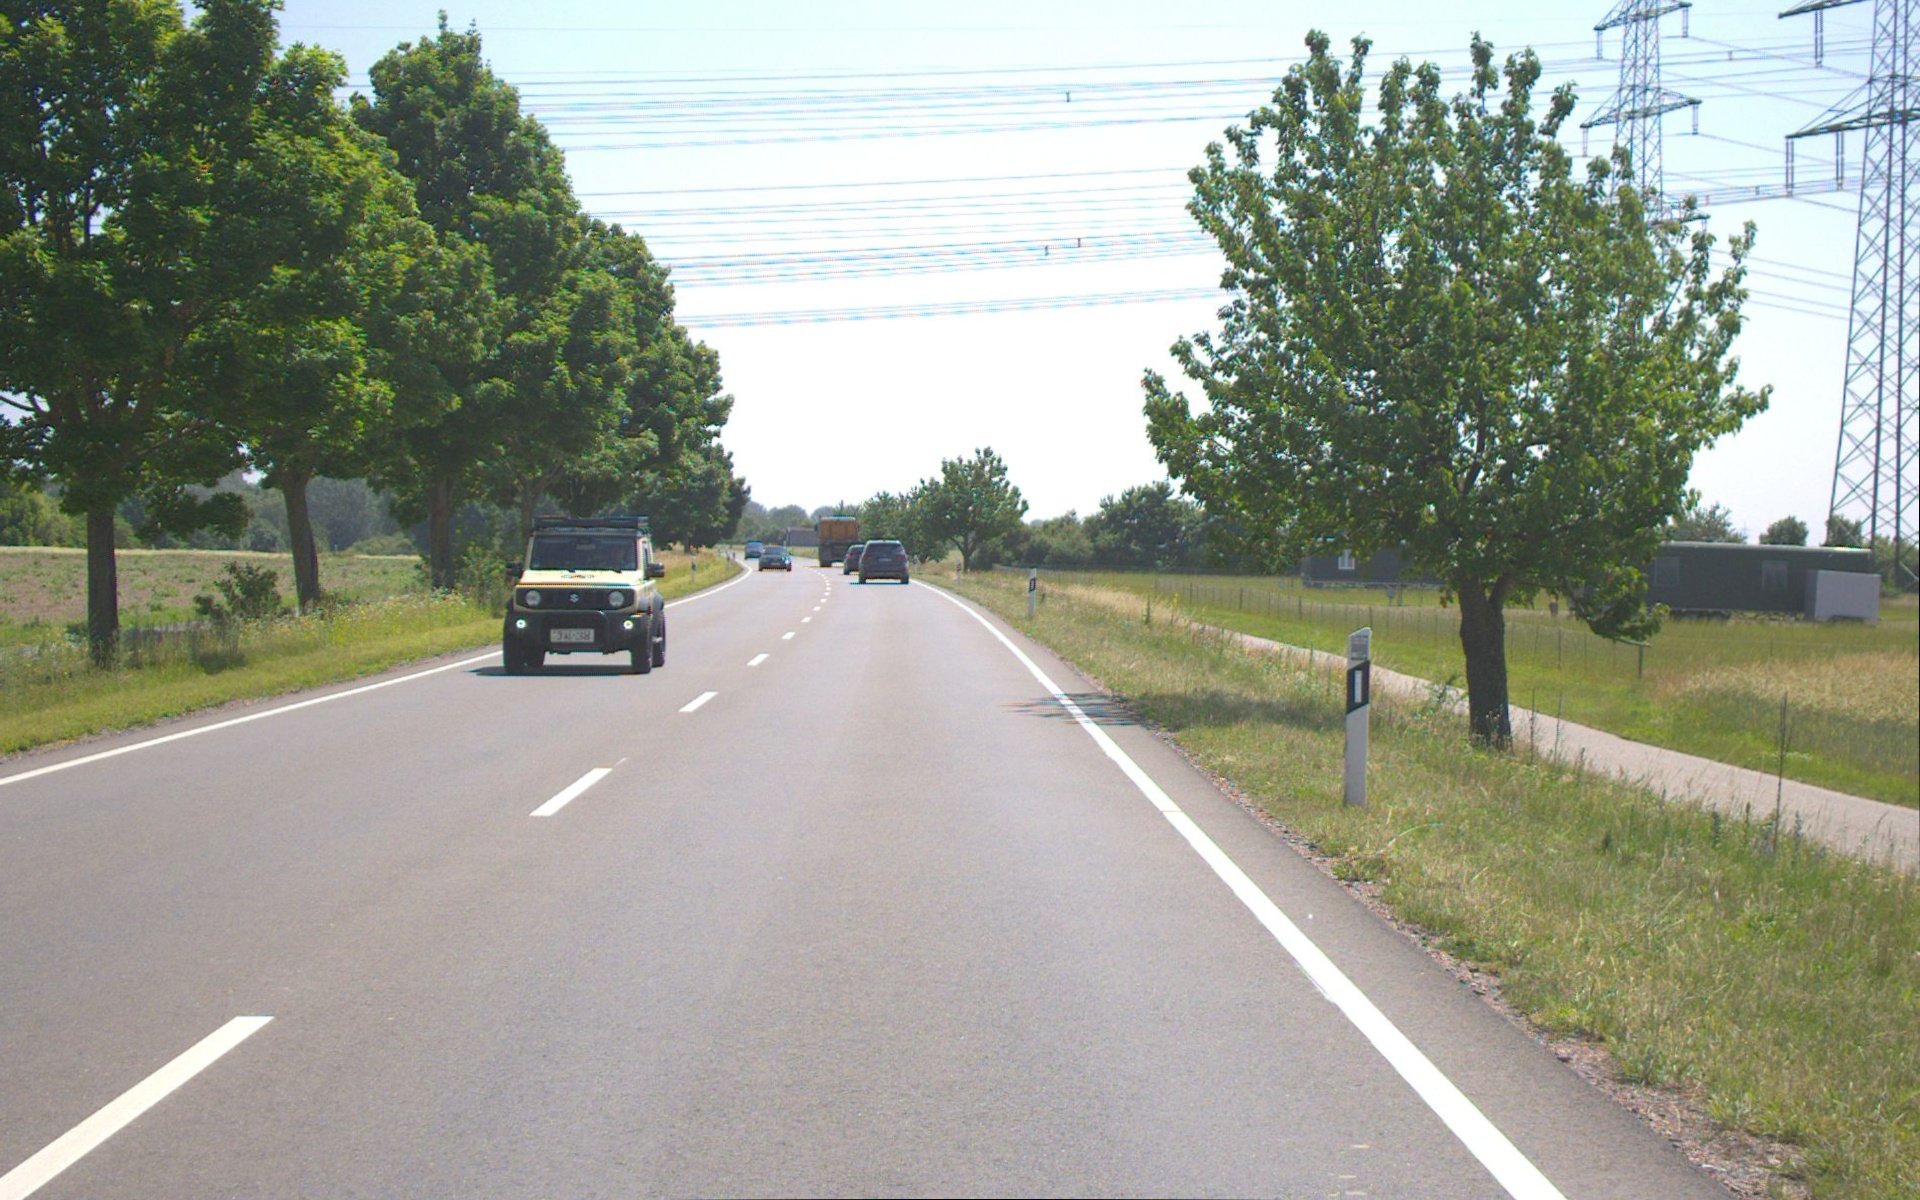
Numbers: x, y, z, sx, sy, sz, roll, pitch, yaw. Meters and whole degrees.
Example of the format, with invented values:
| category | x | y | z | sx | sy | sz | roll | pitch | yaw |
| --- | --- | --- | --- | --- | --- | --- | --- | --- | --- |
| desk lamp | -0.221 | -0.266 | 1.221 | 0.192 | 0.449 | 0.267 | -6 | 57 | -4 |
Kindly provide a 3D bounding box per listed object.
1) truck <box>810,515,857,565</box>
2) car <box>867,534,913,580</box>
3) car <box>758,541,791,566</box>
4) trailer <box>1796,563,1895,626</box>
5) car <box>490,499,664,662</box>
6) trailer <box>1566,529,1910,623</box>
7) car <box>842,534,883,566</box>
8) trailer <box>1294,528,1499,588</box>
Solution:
| category | x | y | z | sx | sy | sz | roll | pitch | yaw |
| --- | --- | --- | --- | --- | --- | --- | --- | --- | --- |
| truck | -8.078 | -3.827 | 218.899 | 2.370 | 3.129 | 8.749 | 1 | 1 | -6 |
| car | -2.700 | -1.646 | 131.897 | 1.714 | 1.688 | 3.989 | 1 | 1 | -2 |
| car | -10.055 | -2.510 | 186.404 | 1.704 | 1.328 | 4.001 | 1 | 1 | -4 |
| trailer | 36.242 | -0.226 | 140.796 | 3.407 | 2.454 | 2.038 | 2 | 1 | -3 |
| car | -4.551 | -0.246 | 41.277 | 1.681 | 1.842 | 4.000 | 1 | 1 | -1 |
| trailer | 32.388 | -1.014 | 143.405 | 13.508 | 3.463 | 3.277 | 2 | 1 | -3 |
| car | -4.821 | -2.463 | 168.982 | 1.850 | 1.517 | 4.001 | 1 | 1 | -4 |
| trailer | 27.935 | -2.688 | 220.490 | 12.409 | 3.461 | 3.806 | 2 | 1 | -4 |
